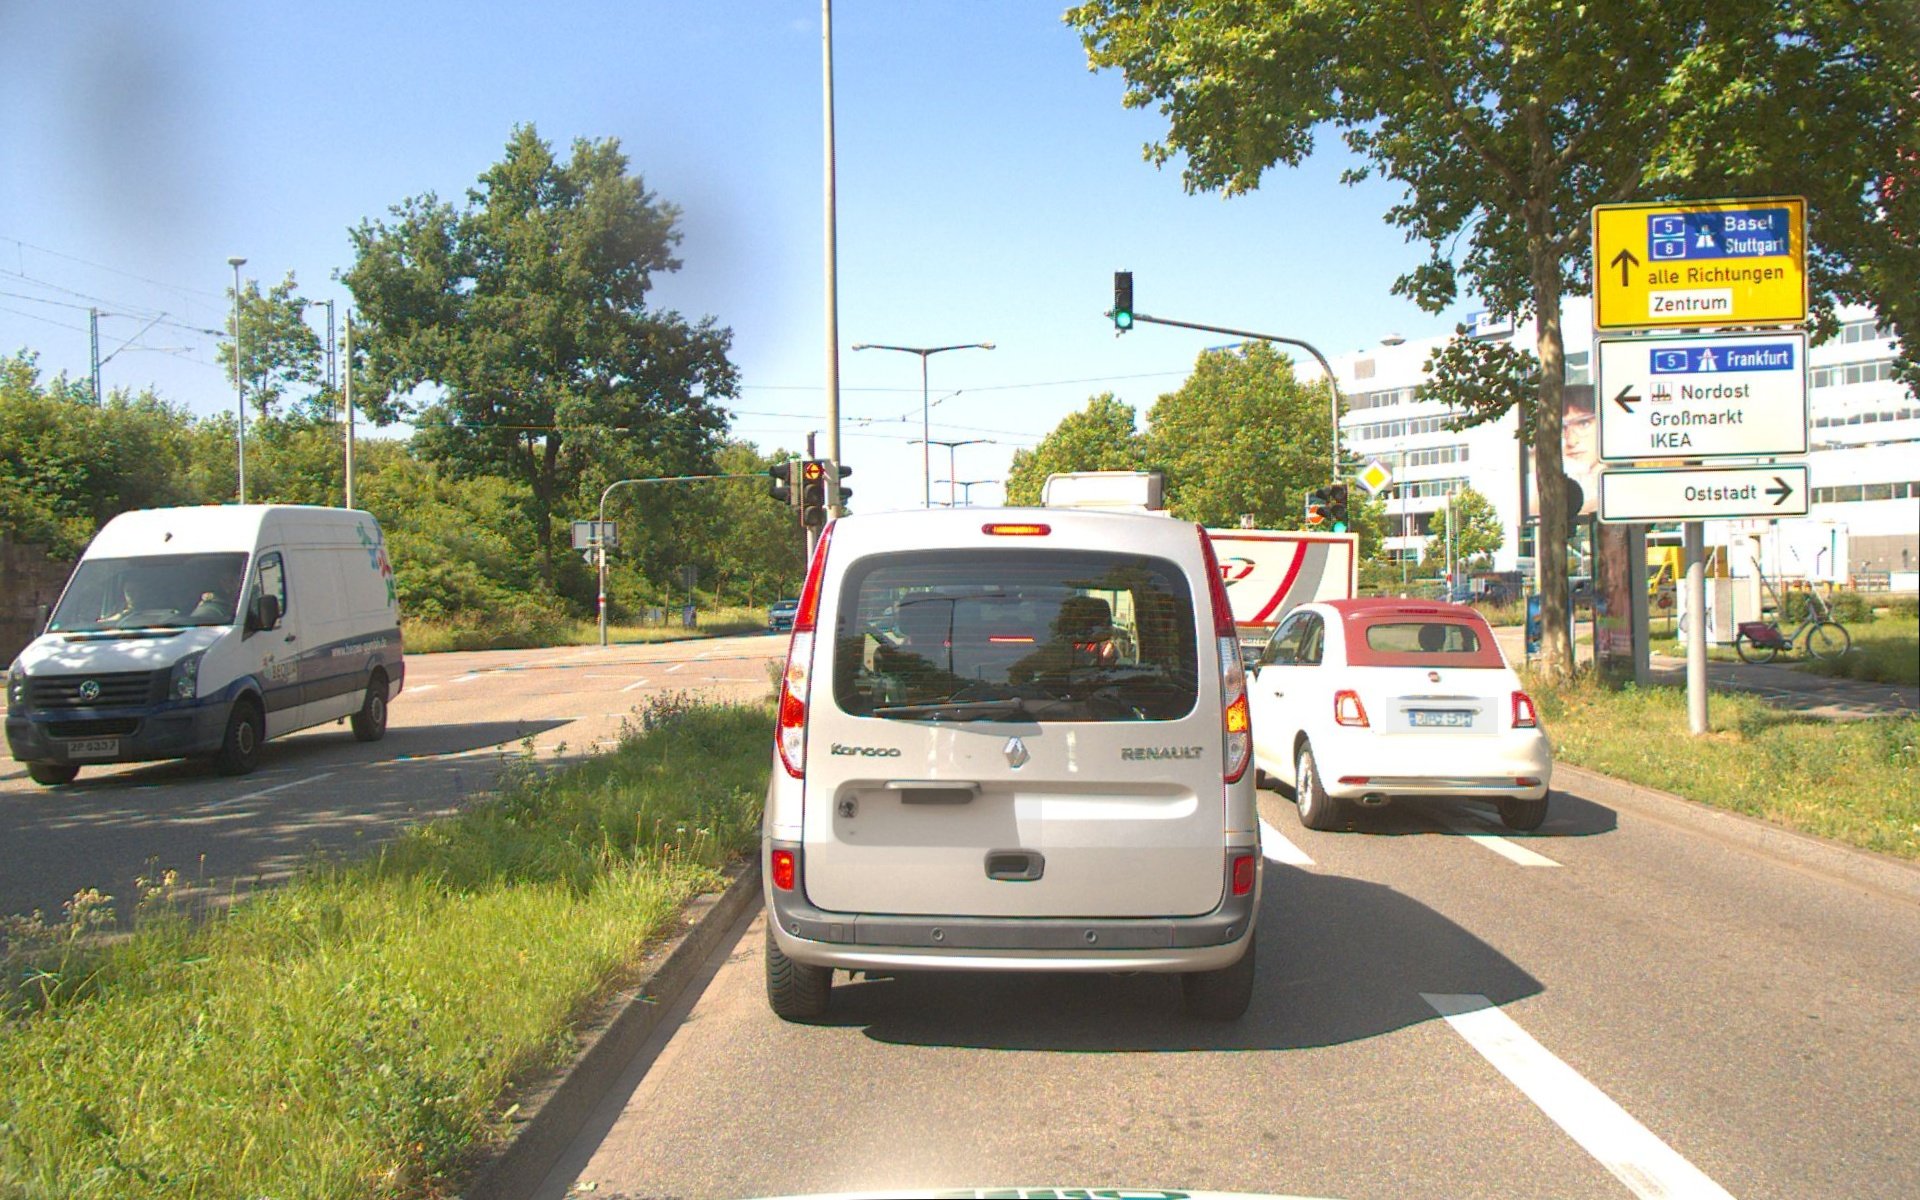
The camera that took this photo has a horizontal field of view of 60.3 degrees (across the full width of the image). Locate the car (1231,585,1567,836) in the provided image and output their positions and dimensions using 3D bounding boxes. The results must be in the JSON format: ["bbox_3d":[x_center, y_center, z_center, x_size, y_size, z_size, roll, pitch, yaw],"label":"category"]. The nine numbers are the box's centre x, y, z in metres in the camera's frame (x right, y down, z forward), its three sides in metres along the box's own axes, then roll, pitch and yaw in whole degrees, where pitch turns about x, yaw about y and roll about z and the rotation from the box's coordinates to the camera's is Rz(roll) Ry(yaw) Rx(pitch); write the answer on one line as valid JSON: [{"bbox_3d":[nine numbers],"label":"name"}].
[{"bbox_3d":[3.014,0.697,11.969,1.507,1.541,3.259,1,0,-1],"label":"car"}]

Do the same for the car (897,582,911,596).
[{"bbox_3d":[-8.413,-1.630,250.594,1.849,2.049,4.001,1,0,1],"label":"car"}]

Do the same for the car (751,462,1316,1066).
[{"bbox_3d":[0.207,0.526,7.201,1.750,1.870,3.999,1,0,-1],"label":"car"}]

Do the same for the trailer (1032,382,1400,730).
[{"bbox_3d":[3.038,-0.443,24.102,2.842,3.686,12.679,1,0,-2],"label":"trailer"}]

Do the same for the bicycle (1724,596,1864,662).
[{"bbox_3d":[13.676,0.478,27.175,1.959,1.031,0.621,-1,0,16],"label":"bicycle"}]

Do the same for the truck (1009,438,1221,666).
[{"bbox_3d":[2.669,-0.781,30.859,2.853,3.707,7.184,1,0,-3],"label":"truck"}]

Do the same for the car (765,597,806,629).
[{"bbox_3d":[-8.857,0.652,84.136,1.665,1.534,3.999,-1,1,-1],"label":"car"}]

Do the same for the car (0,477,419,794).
[{"bbox_3d":[-7.595,0.307,17.336,1.953,2.709,5.785,-2,0,-1],"label":"car"}]

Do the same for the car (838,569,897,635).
[{"bbox_3d":[-3.841,0.100,69.609,1.952,2.653,5.135,-1,0,2],"label":"car"}]
